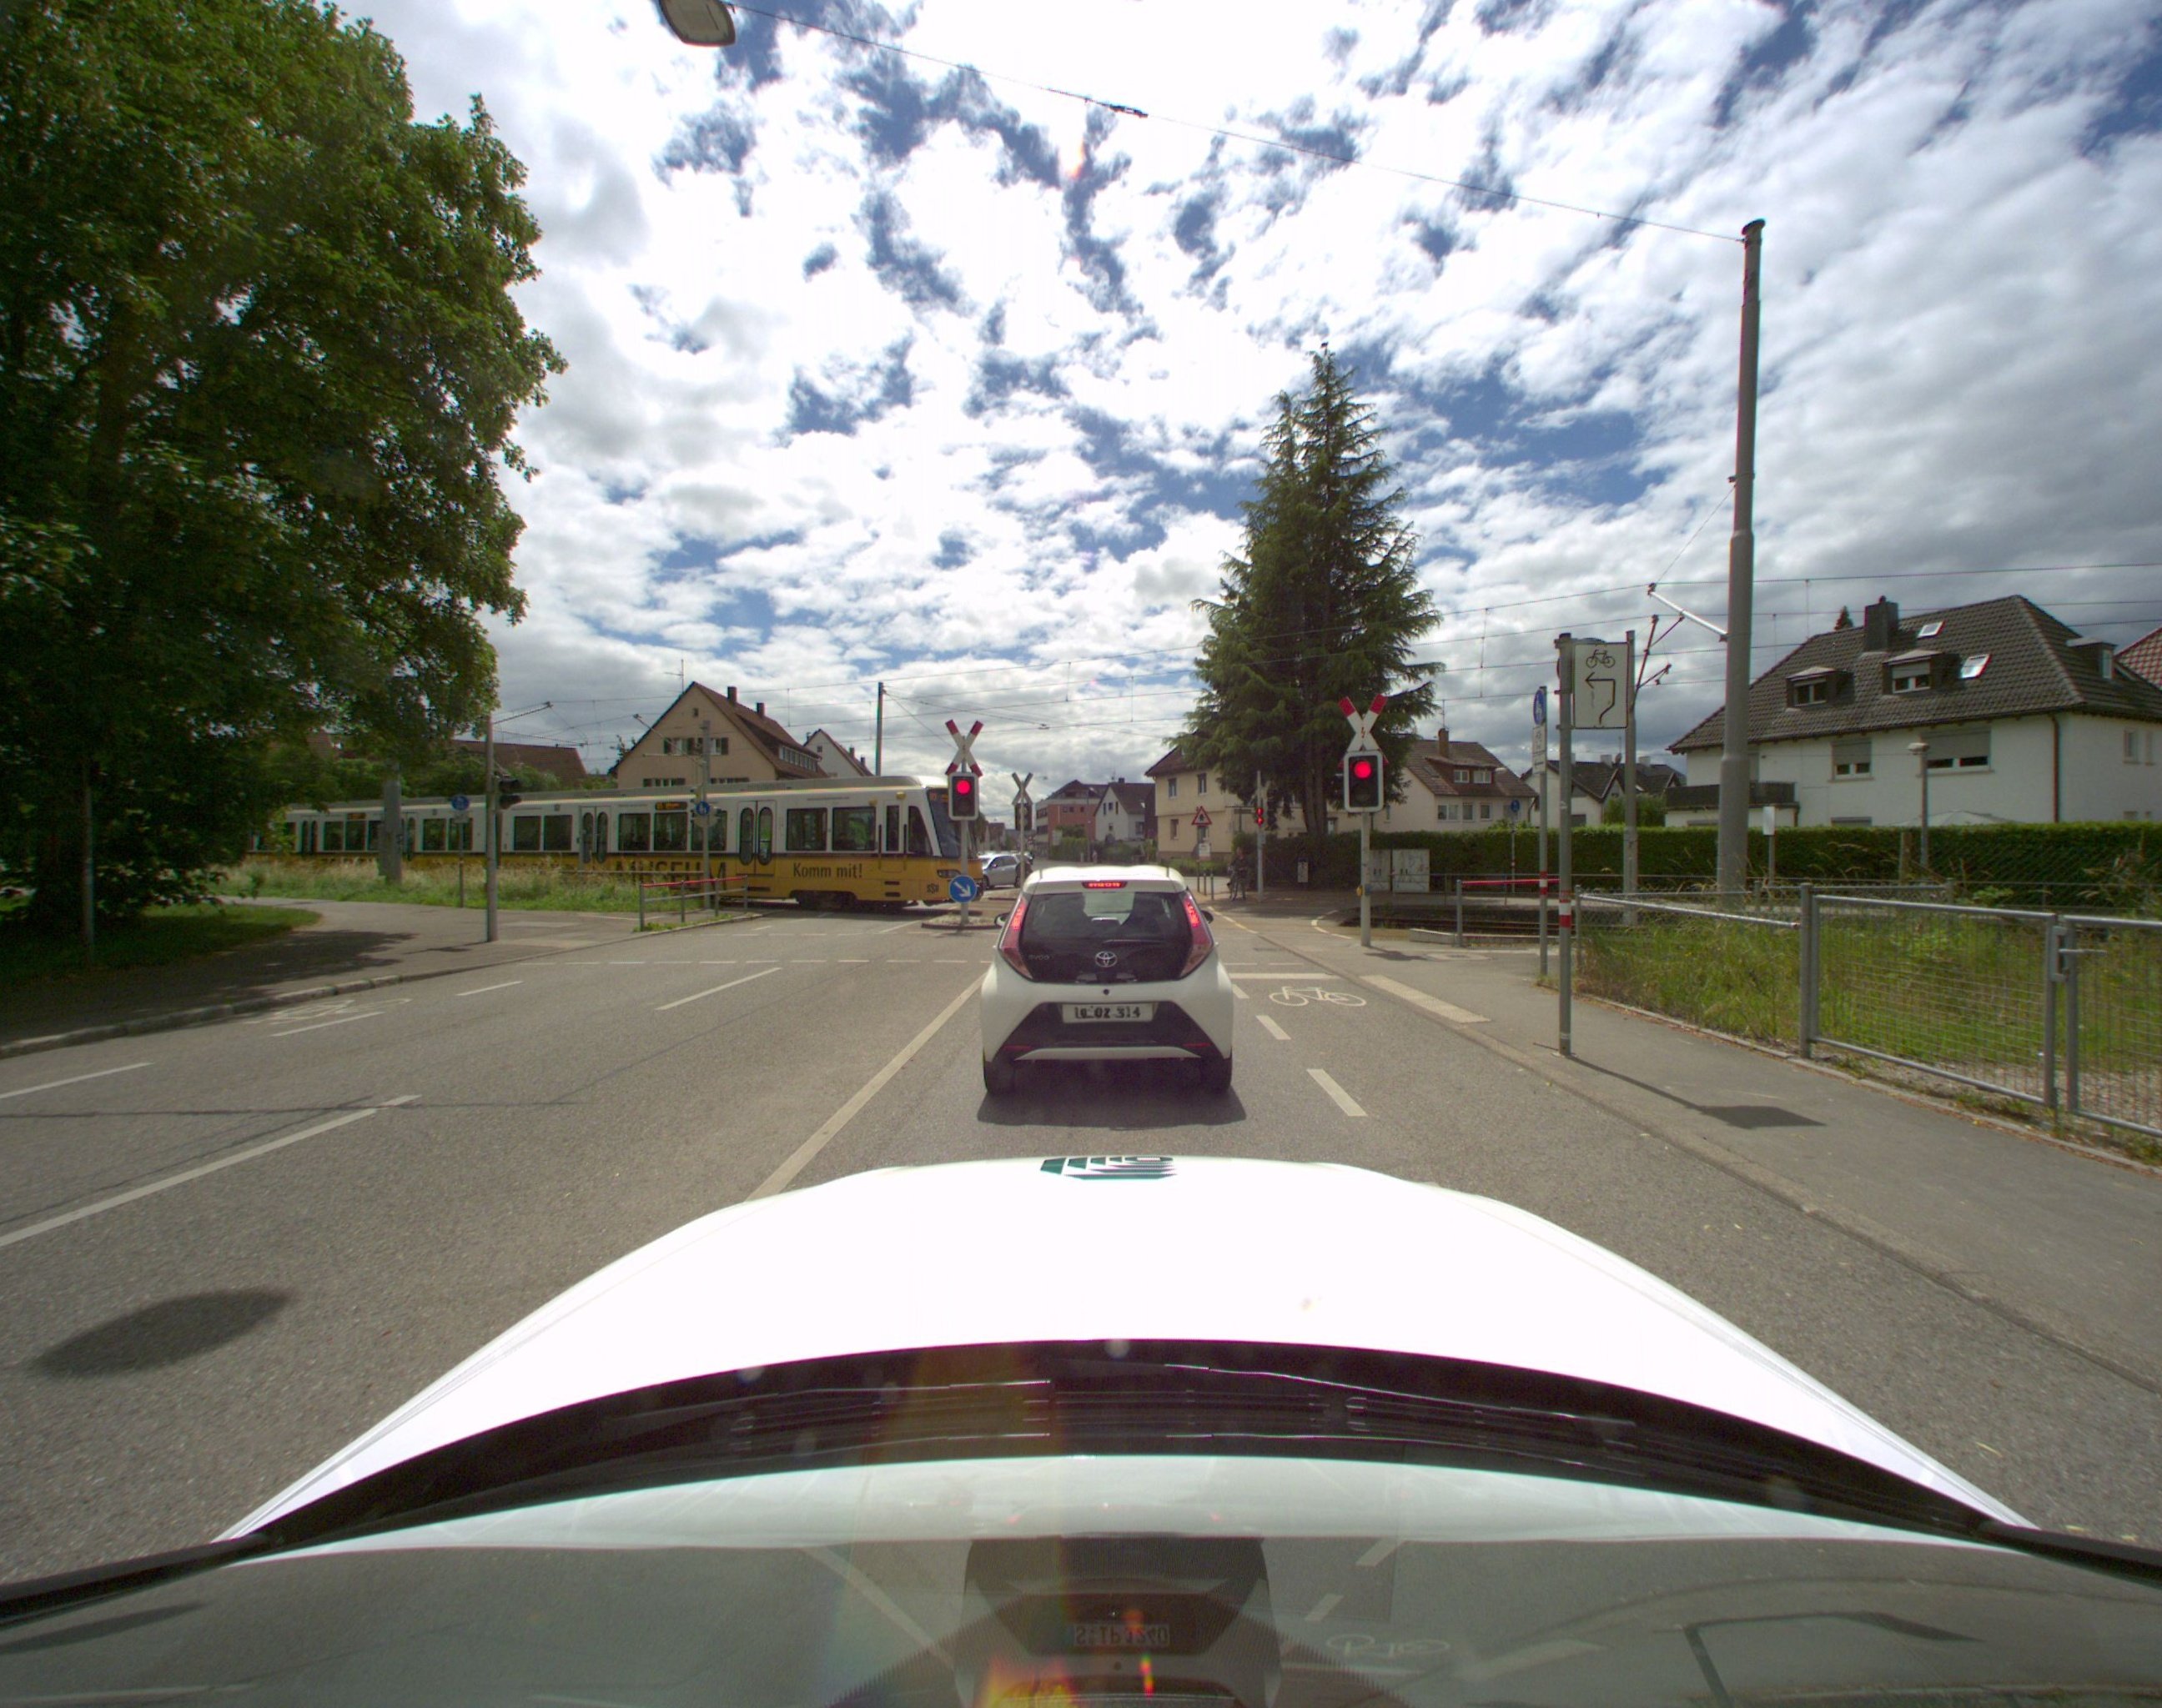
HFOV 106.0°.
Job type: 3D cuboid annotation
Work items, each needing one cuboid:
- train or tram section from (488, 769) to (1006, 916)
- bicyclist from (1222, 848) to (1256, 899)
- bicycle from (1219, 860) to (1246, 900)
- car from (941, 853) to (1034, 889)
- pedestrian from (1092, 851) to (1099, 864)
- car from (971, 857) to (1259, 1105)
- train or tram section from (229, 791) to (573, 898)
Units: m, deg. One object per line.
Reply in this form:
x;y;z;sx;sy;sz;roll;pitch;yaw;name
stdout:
-11.357;-0.334;25.679;18.885;3.704;2.936;0;1;24;train or tram section
5.081;0.608;26.157;0.839;1.553;0.755;-3;2;-4;bicyclist
4.852;0.815;26.182;0.456;1.172;1.477;-3;2;-4;bicycle
-3.935;0.697;35.002;1.887;1.441;4.124;0;0;30;car
1.712;0.391;95.312;0.723;1.576;0.804;0;0;2;pedestrian
0.164;0.759;6.721;1.716;1.442;3.706;0;0;-2;car
-28.495;-0.384;33.471;18.885;3.704;2.936;0;1;24;train or tram section
